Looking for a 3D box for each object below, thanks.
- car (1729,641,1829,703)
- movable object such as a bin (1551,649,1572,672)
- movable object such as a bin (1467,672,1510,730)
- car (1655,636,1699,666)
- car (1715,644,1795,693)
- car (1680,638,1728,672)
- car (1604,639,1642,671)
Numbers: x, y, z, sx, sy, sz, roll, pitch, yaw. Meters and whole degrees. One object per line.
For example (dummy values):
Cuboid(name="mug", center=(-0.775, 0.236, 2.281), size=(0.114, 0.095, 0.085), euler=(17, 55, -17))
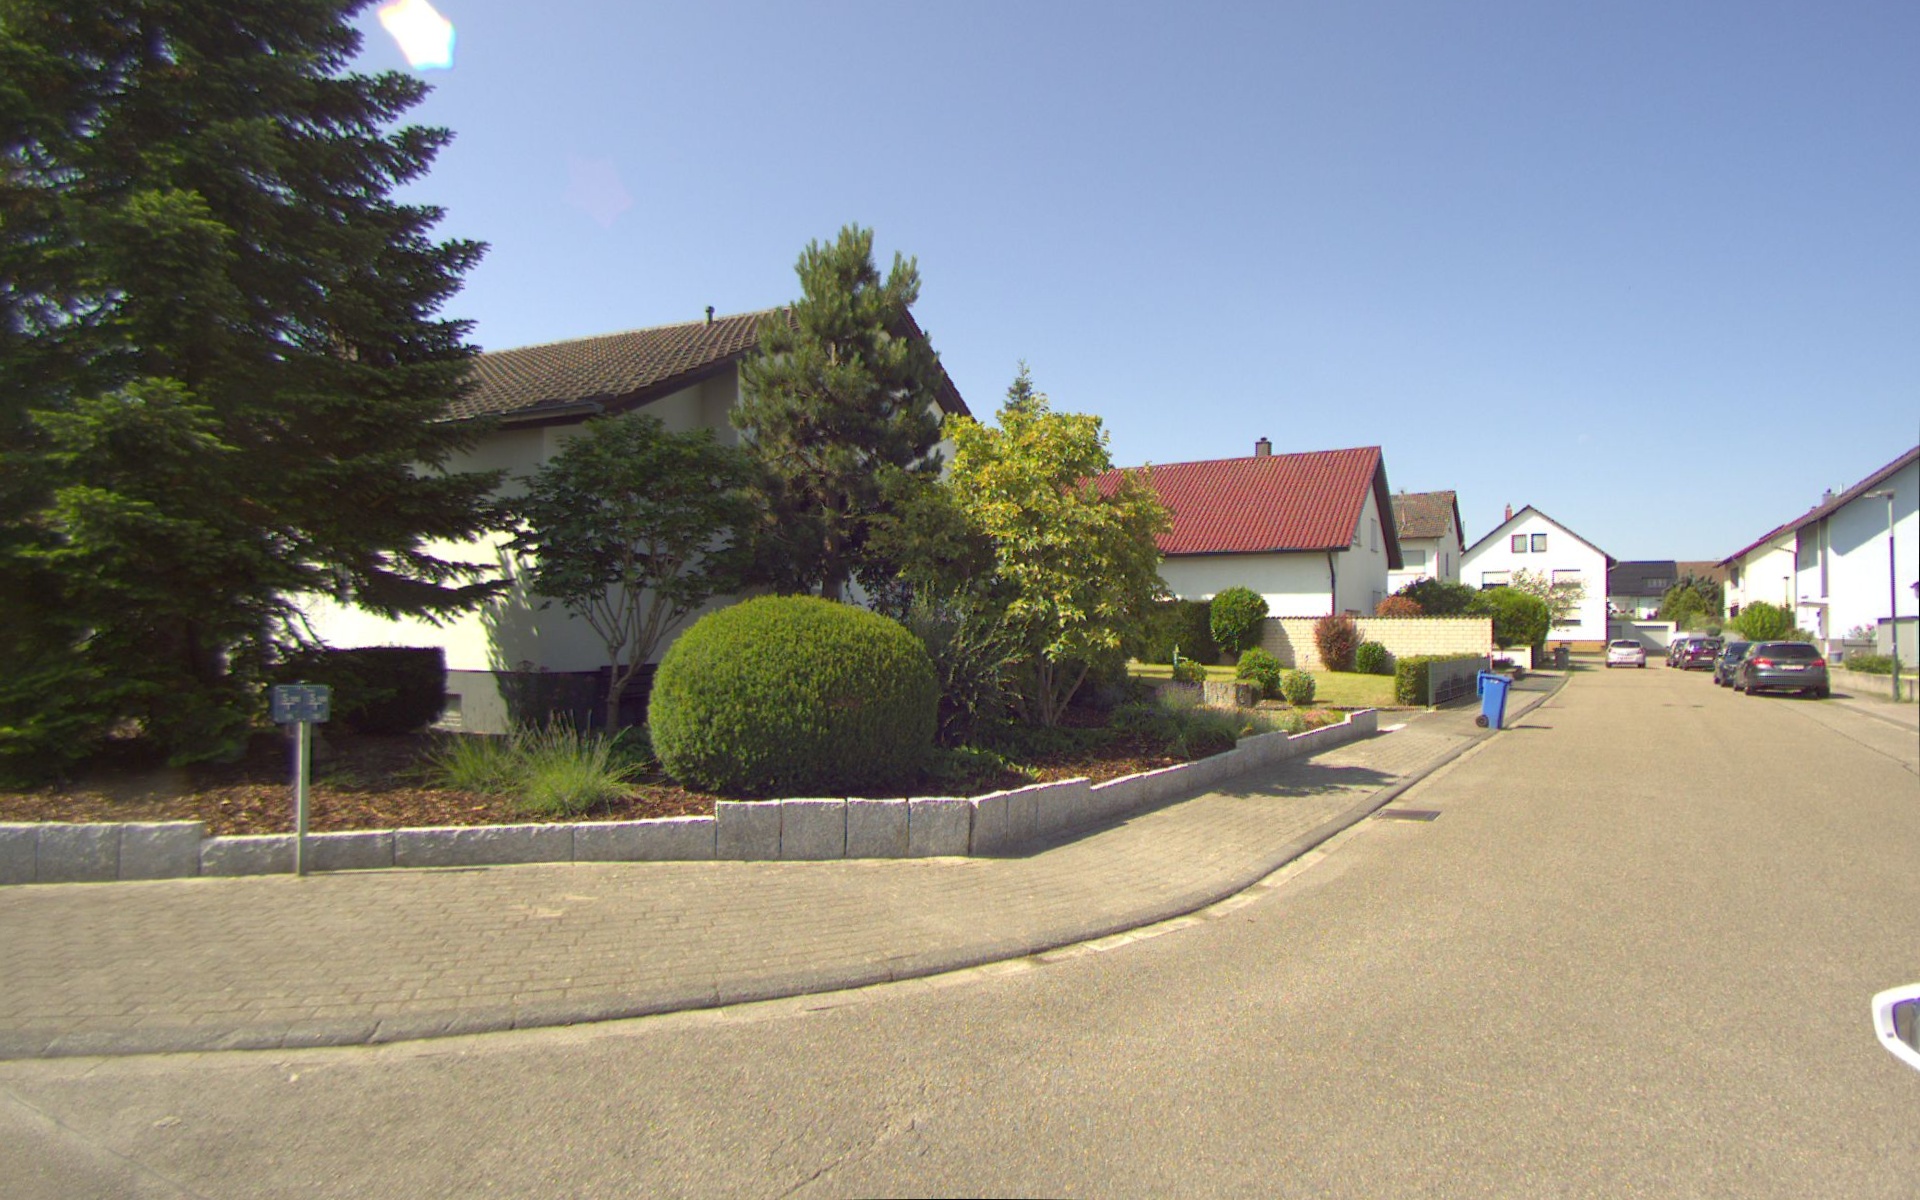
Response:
Cuboid(name="car", center=(22.861, 1.947, 28.172), size=(1.619, 1.498, 3.991), euler=(1, 0, 32))
Cuboid(name="movable object such as a bin", center=(28.296, 2.836, 47.256), size=(0.807, 1.077, 0.609), euler=(-1, -2, 32))
Cuboid(name="movable object such as a bin", center=(9.052, 1.714, 17.199), size=(0.575, 0.928, 0.596), euler=(1, -1, 34))
Cuboid(name="car", center=(39.411, 2.776, 55.272), size=(1.621, 1.566, 4.039), euler=(-1, -2, 31))
Cuboid(name="car", center=(25.990, 2.191, 32.956), size=(1.694, 1.457, 4.490), euler=(-1, -2, 34))
Cuboid(name="car", center=(37.278, 2.722, 50.369), size=(1.622, 1.602, 4.137), euler=(-1, -2, 33))
Cuboid(name="car", center=(34.983, 2.876, 53.061), size=(1.622, 1.602, 3.800), euler=(-1, -2, 33))
